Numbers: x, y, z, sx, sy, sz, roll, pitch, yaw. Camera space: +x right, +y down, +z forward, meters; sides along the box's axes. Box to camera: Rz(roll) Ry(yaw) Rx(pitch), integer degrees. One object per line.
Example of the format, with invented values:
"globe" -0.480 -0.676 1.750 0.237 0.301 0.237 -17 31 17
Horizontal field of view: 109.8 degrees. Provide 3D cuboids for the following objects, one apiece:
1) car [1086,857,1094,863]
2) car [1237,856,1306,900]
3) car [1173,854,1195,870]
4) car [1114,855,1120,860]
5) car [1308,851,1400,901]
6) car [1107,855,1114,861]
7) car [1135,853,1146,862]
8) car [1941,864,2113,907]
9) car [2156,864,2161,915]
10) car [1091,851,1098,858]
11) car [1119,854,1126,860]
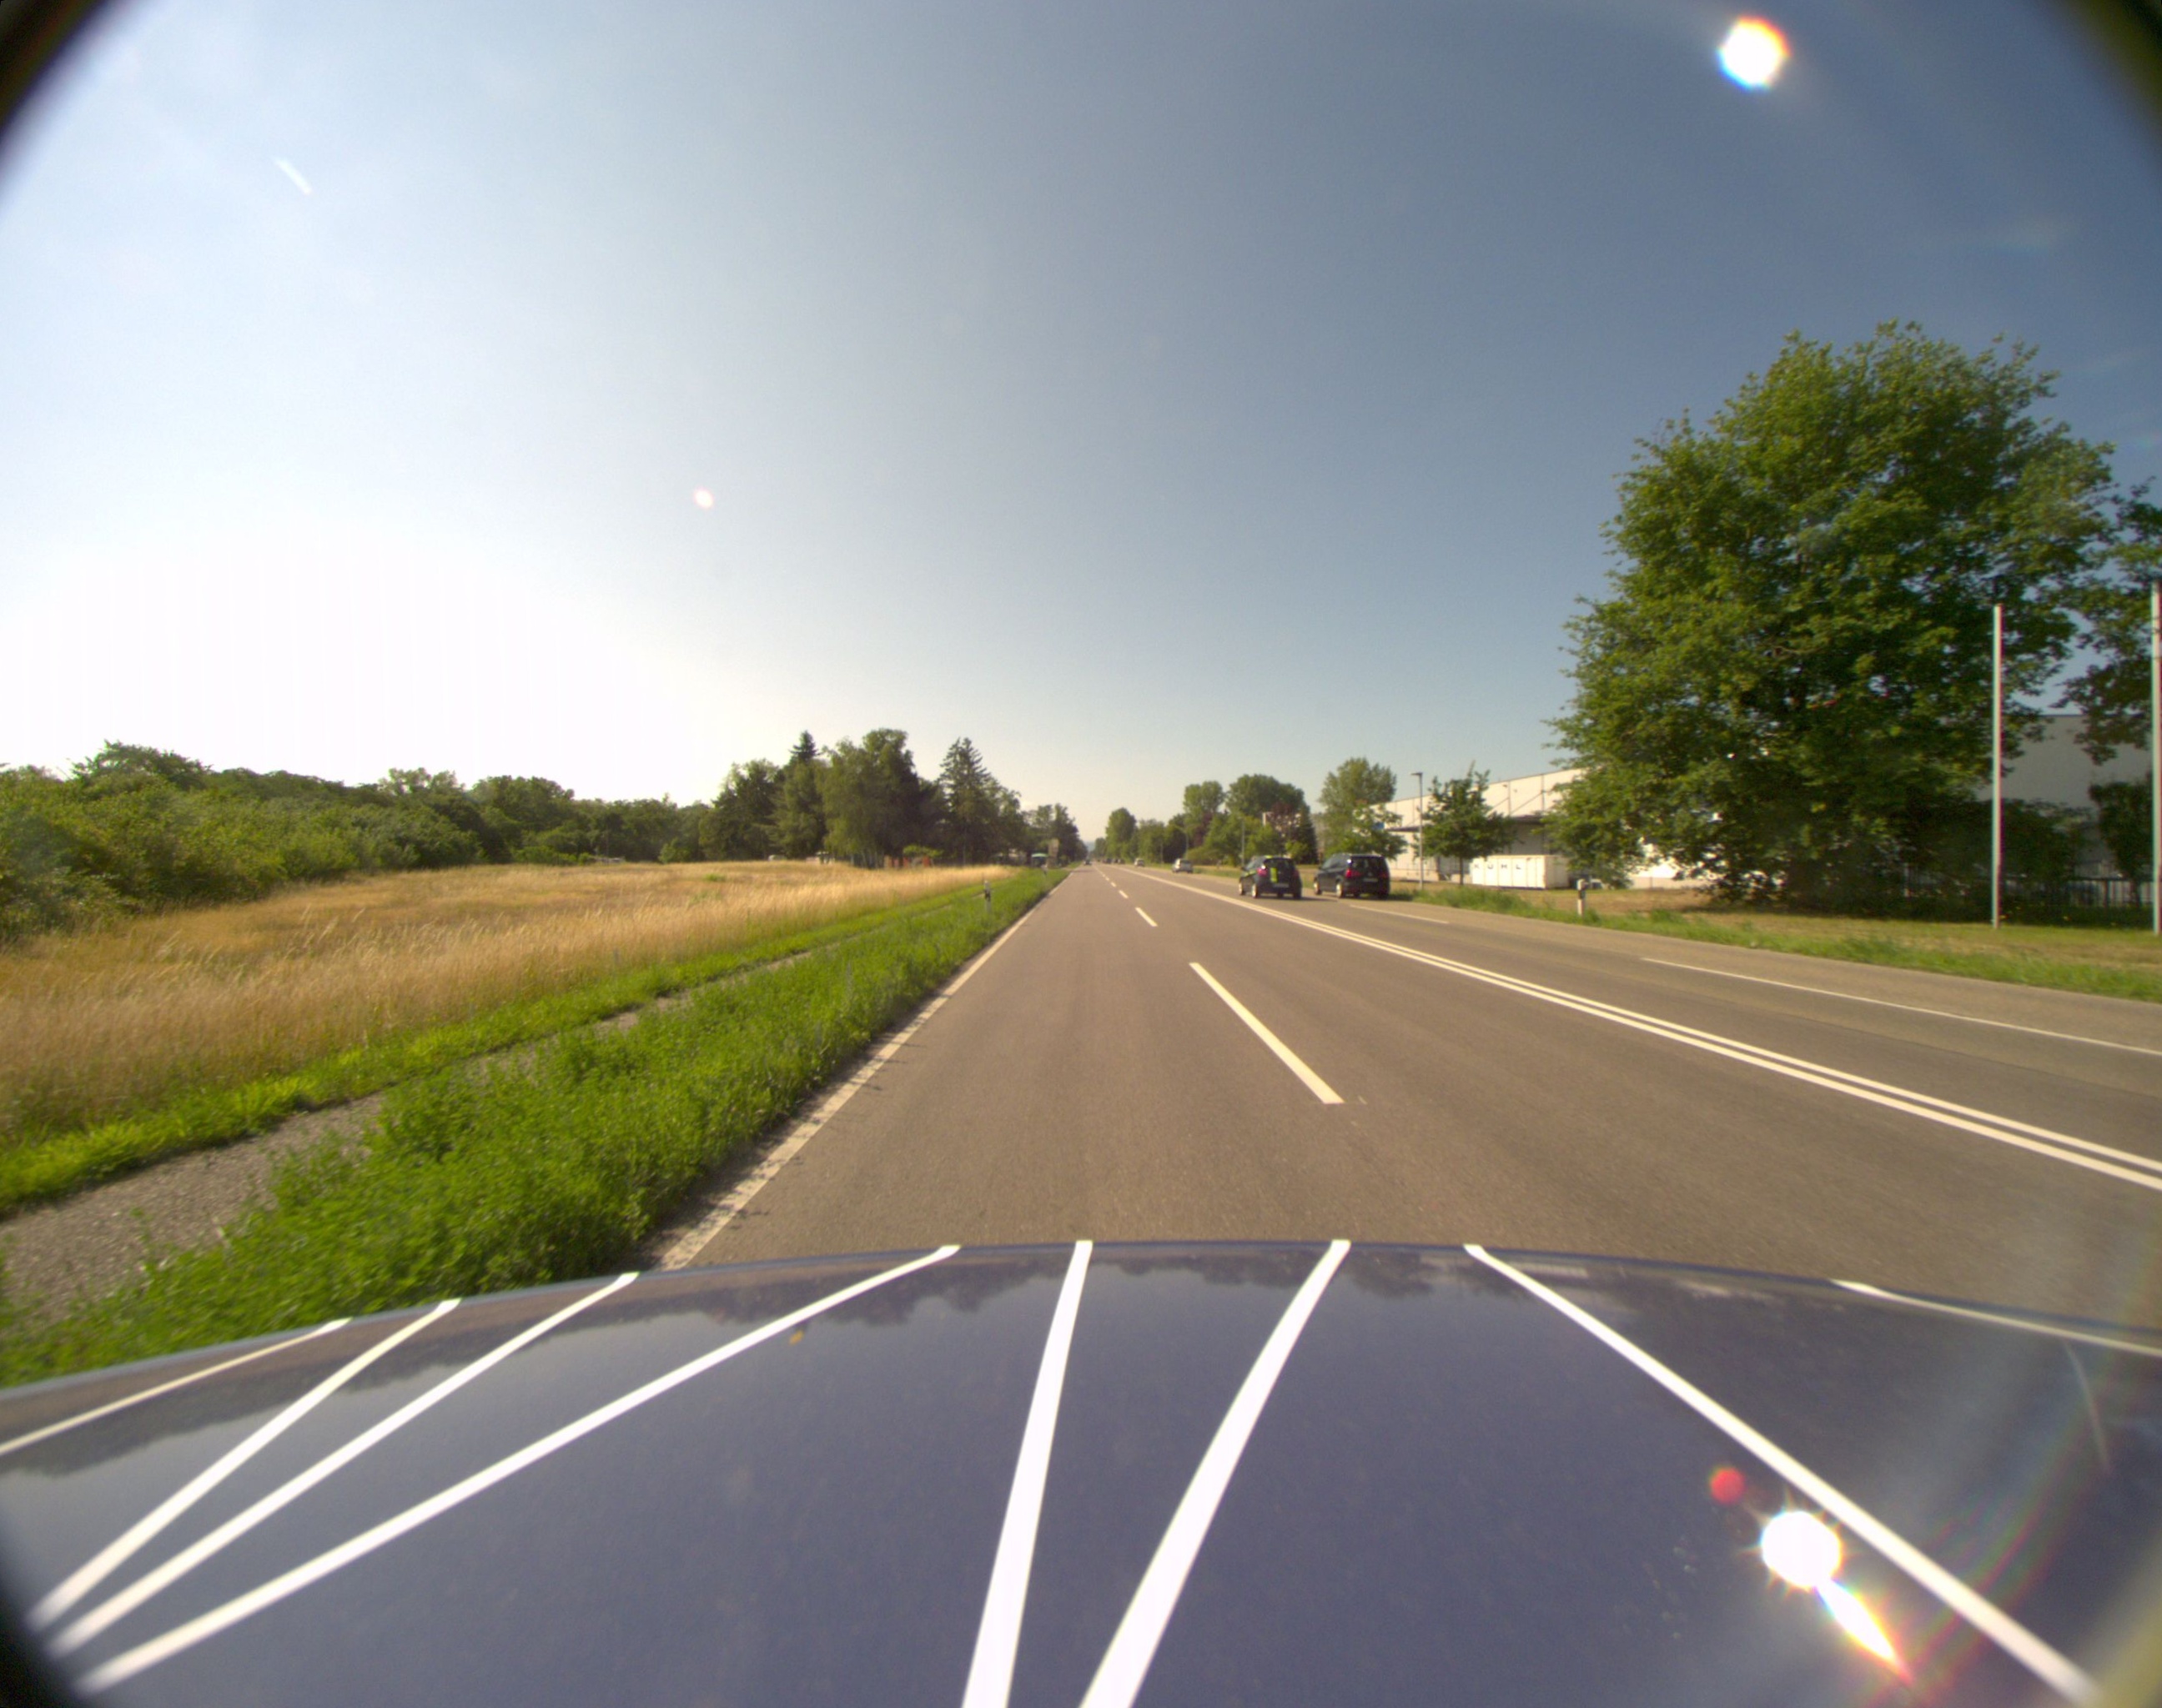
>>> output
"car" 2.012 1.393 176.065 1.768 1.403 4.001 0 -1 1
"car" 6.721 0.802 27.179 1.520 1.442 3.775 2 0 0
"car" 10.430 0.790 77.015 1.602 1.434 4.000 2 0 0
"car" 11.685 1.152 244.689 1.656 1.472 4.740 1 0 0
"car" 10.142 0.760 28.617 1.830 1.662 4.389 2 0 -1
"car" 8.414 1.124 215.619 1.776 1.704 4.569 1 0 1
"car" 10.921 0.636 138.874 1.663 1.429 3.735 1 0 0
"car" 34.158 1.080 27.607 1.640 1.382 3.722 0 0 0
"car" 32.494 1.033 20.396 1.744 1.492 3.988 0 0 -43
"car" 4.190 0.240 236.190 1.775 2.034 4.570 3 0 3
"car" 11.253 0.873 205.750 1.733 1.551 4.215 2 0 0
